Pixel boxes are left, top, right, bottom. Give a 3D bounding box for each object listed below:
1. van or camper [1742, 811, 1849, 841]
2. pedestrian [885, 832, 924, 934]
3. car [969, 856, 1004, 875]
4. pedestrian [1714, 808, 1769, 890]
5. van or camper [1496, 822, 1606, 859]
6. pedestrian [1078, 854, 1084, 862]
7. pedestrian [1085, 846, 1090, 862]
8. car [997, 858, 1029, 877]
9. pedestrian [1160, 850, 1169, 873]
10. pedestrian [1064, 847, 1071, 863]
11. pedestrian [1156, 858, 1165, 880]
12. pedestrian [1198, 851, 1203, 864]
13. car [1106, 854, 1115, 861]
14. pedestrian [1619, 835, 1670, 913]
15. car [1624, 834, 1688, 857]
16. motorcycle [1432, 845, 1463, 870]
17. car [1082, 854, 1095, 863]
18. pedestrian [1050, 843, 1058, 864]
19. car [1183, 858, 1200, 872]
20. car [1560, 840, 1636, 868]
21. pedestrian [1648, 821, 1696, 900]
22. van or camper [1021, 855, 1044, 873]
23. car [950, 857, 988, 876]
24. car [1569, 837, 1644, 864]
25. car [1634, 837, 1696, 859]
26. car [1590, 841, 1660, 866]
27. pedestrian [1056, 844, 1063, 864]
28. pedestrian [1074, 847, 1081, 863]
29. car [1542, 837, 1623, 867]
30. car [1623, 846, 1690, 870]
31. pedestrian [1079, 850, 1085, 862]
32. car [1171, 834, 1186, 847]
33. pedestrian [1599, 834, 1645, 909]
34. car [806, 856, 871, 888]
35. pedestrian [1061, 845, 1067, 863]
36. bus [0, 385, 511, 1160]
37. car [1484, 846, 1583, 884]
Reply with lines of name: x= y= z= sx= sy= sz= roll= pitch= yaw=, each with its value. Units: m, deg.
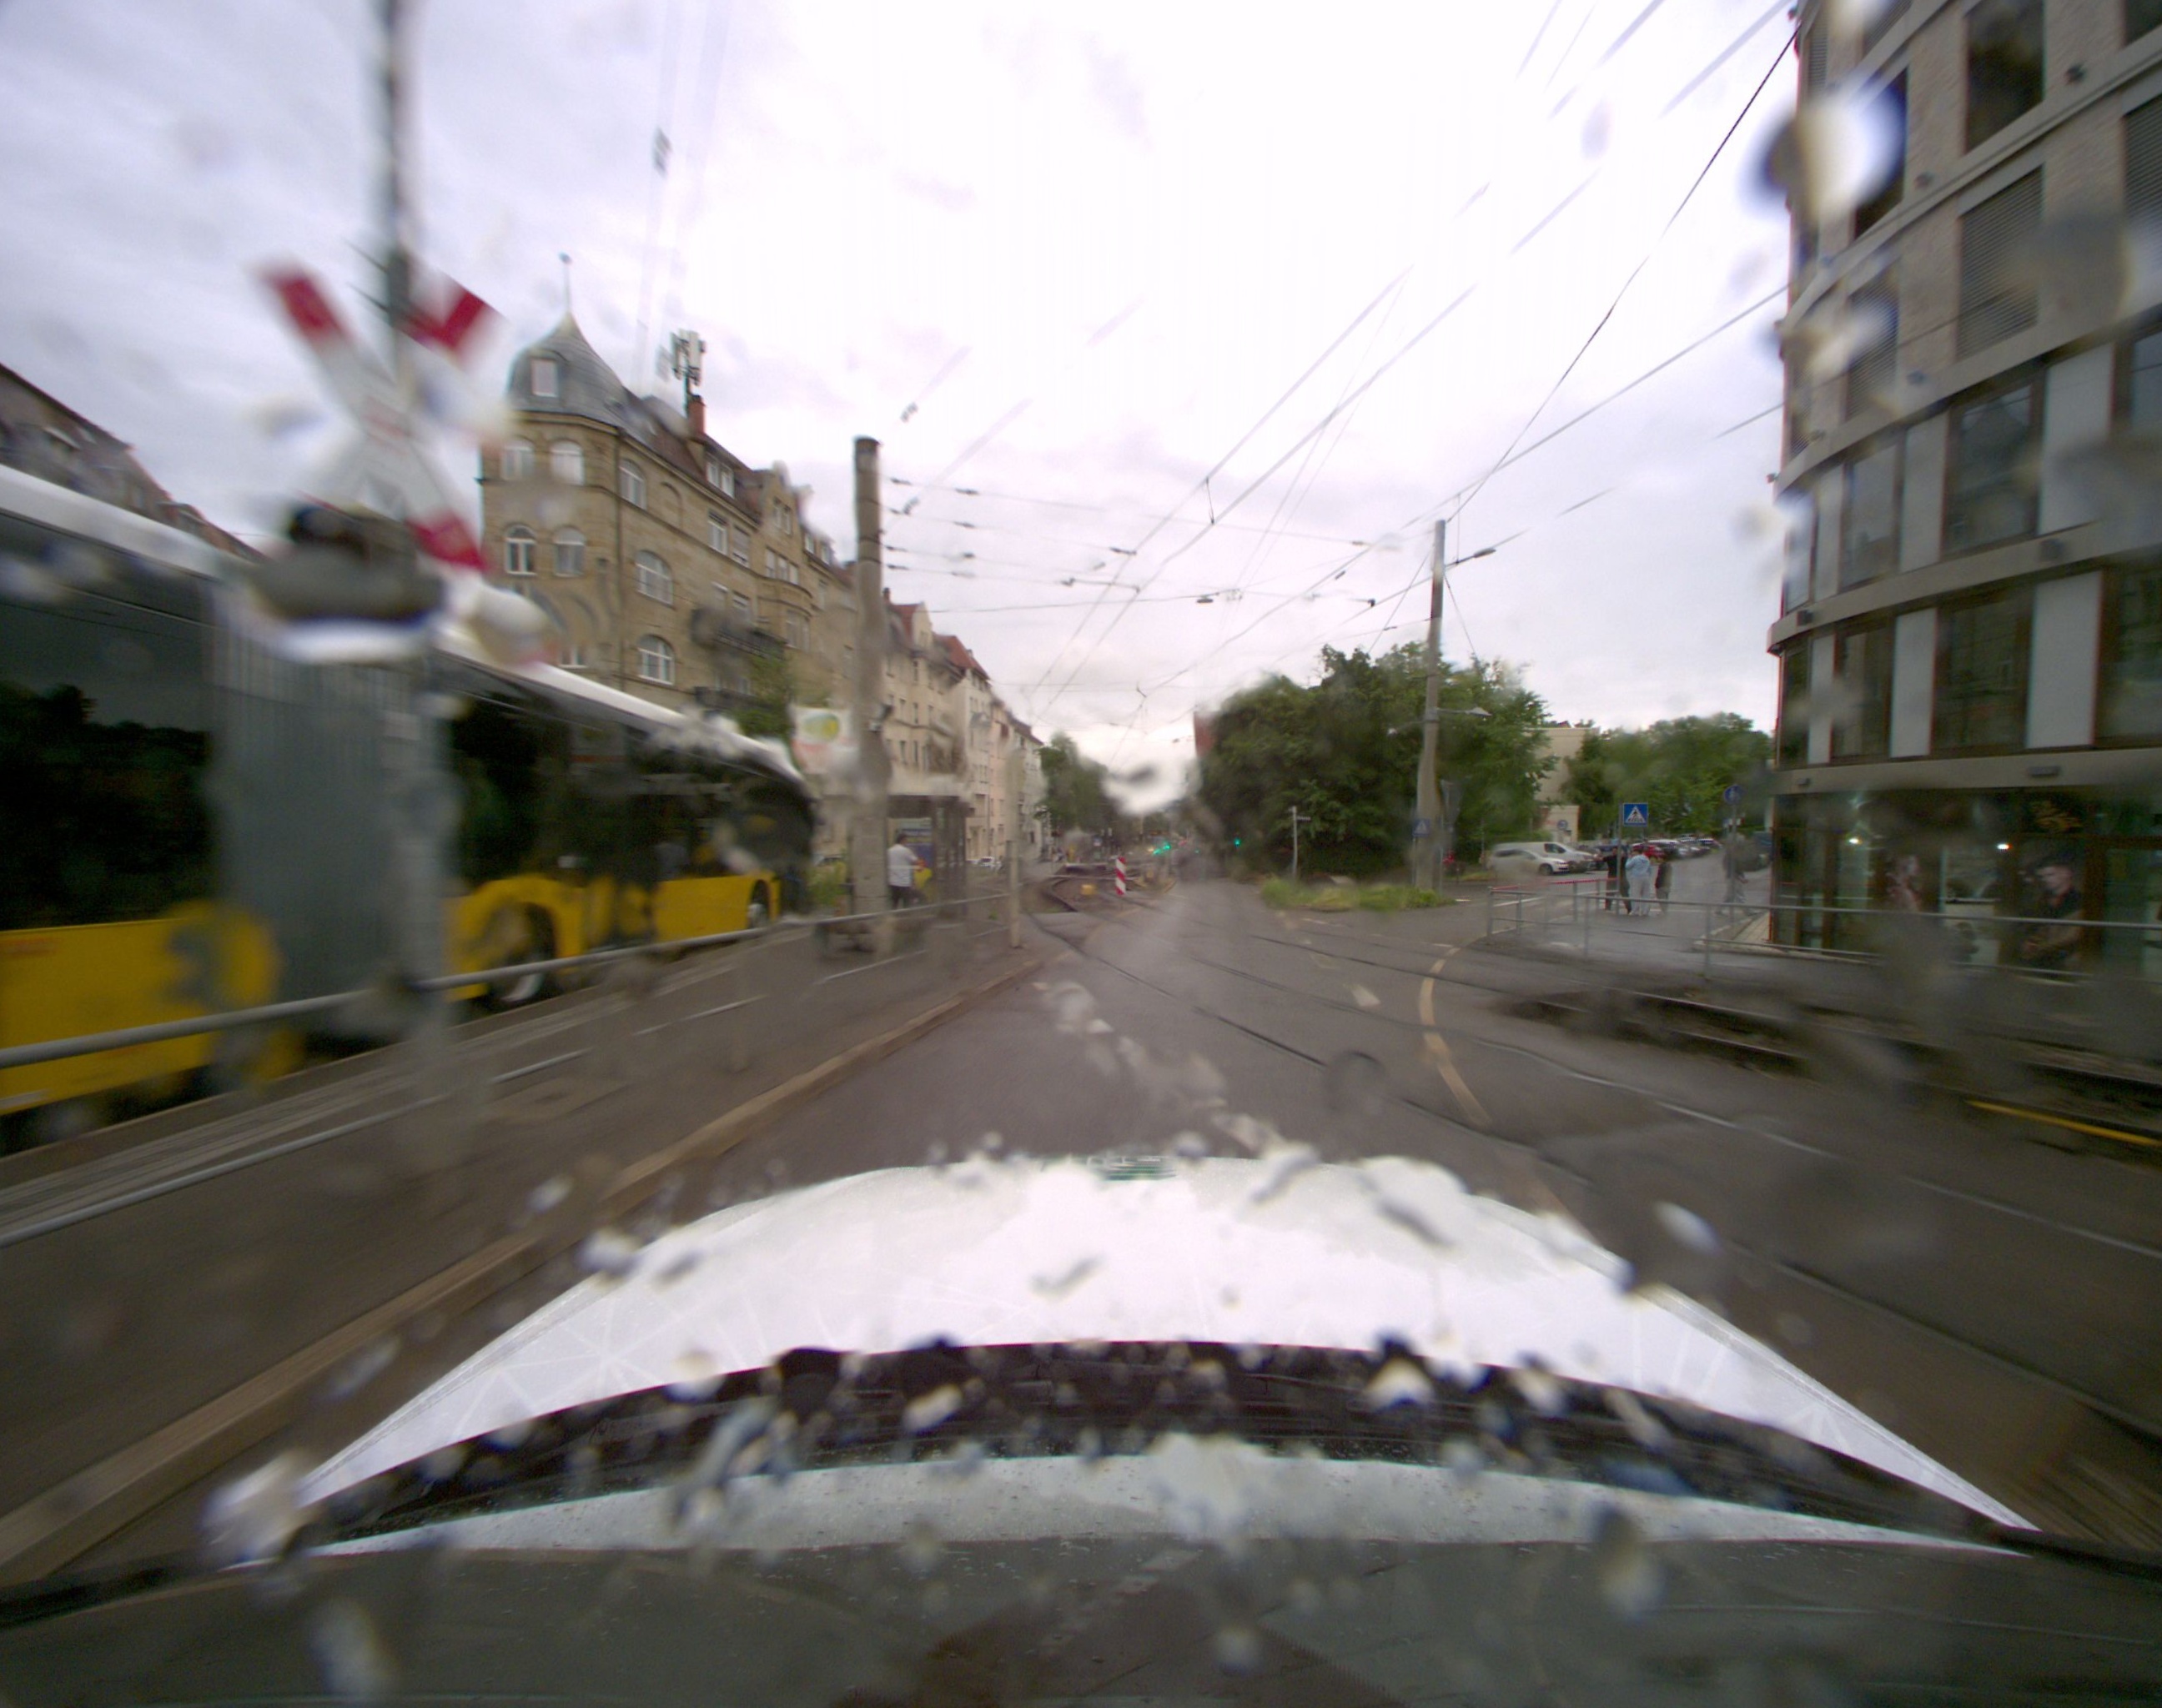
van or camper: x=55.456 y=-2.142 z=63.357 sx=5.873 sy=2.013 sz=2.011 roll=-2 pitch=0 yaw=23
pedestrian: x=-3.110 y=0.508 z=14.363 sx=0.575 sy=1.752 sz=0.542 roll=-1 pitch=-1 yaw=-5
car: x=-8.457 y=0.990 z=73.272 sx=1.912 sy=1.622 sz=4.545 roll=-2 pitch=0 yaw=8
pedestrian: x=16.770 y=-0.135 z=20.691 sx=0.589 sy=2.013 sz=0.892 roll=-3 pitch=0 yaw=2
van or camper: x=27.324 y=-0.757 z=47.534 sx=2.010 sy=1.834 sz=5.121 roll=-2 pitch=-1 yaw=-39
pedestrian: x=0.017 y=0.498 z=92.517 sx=0.547 sy=0.872 sz=0.615 roll=-3 pitch=-1 yaw=6
pedestrian: x=0.757 y=0.013 z=94.612 sx=0.547 sy=1.741 sz=0.615 roll=-3 pitch=-1 yaw=6
car: x=-6.814 y=1.376 z=82.178 sx=1.982 sy=1.732 sz=4.826 roll=-2 pitch=-1 yaw=9
pedestrian: x=6.645 y=0.608 z=64.704 sx=0.647 sy=1.784 sz=0.849 roll=-1 pitch=0 yaw=7
pedestrian: x=-1.396 y=0.134 z=84.552 sx=0.591 sy=1.666 sz=0.763 roll=-3 pitch=-1 yaw=6
pedestrian: x=5.858 y=1.113 z=60.204 sx=0.647 sy=1.562 sz=0.685 roll=-1 pitch=0 yaw=7
pedestrian: x=17.355 y=0.467 z=118.168 sx=0.551 sy=1.813 sz=0.651 roll=-1 pitch=0 yaw=4
car: x=7.028 y=0.789 z=194.088 sx=1.764 sy=1.488 sz=4.263 roll=-3 pitch=-1 yaw=7
pedestrian: x=14.893 y=0.514 z=21.540 sx=0.654 sy=2.013 sz=0.890 roll=-2 pitch=0 yaw=-6
car: x=46.801 y=-0.686 z=66.298 sx=1.857 sy=1.771 sz=3.952 roll=-2 pitch=1 yaw=-42
motorcycle: x=21.318 y=0.187 z=47.354 sx=0.815 sy=1.375 sz=2.444 roll=5 pitch=3 yaw=44
car: x=1.448 y=0.790 z=151.598 sx=1.716 sy=1.515 sz=4.506 roll=-1 pitch=1 yaw=8
pedestrian: x=-2.421 y=-0.033 z=73.627 sx=0.558 sy=1.850 sz=0.600 roll=-3 pitch=-1 yaw=6
car: x=13.208 y=1.312 z=97.441 sx=1.843 sy=1.473 sz=4.006 roll=-1 pitch=0 yaw=5
car: x=34.125 y=0.007 z=53.782 sx=1.748 sy=1.684 sz=3.857 roll=-2 pitch=-1 yaw=-42
pedestrian: x=15.605 y=0.168 z=21.522 sx=0.589 sy=2.013 sz=0.892 roll=-2 pitch=0 yaw=2
van or camper: x=-5.618 y=1.143 z=94.392 sx=1.983 sy=2.013 sz=4.007 roll=-2 pitch=0 yaw=6
car: x=-9.251 y=1.054 z=67.683 sx=1.983 sy=1.533 sz=4.541 roll=1 pitch=-1 yaw=7
car: x=35.549 y=-0.232 z=55.165 sx=1.857 sy=1.771 sz=3.952 roll=-2 pitch=1 yaw=-42
car: x=49.206 y=-0.503 z=68.670 sx=1.857 sy=1.771 sz=3.952 roll=-2 pitch=1 yaw=-42
car: x=39.926 y=-0.062 z=59.808 sx=1.857 sy=1.771 sz=3.952 roll=-2 pitch=1 yaw=-42
pedestrian: x=-2.076 y=-0.010 z=78.503 sx=0.513 sy=1.838 sz=0.763 roll=-3 pitch=-1 yaw=6
pedestrian: x=-0.408 y=0.074 z=87.899 sx=0.591 sy=1.666 sz=0.763 roll=-3 pitch=-1 yaw=6
car: x=30.801 y=-0.114 z=50.112 sx=1.748 sy=1.684 sz=3.857 roll=-2 pitch=-1 yaw=-42
car: x=44.729 y=0.268 z=63.308 sx=1.857 sy=1.771 sz=3.952 roll=-2 pitch=1 yaw=-42
pedestrian: x=0.144 y=0.235 z=93.412 sx=0.547 sy=1.413 sz=0.615 roll=-3 pitch=-1 yaw=6
car: x=14.478 y=-2.003 z=121.132 sx=1.939 sy=1.793 sz=4.150 roll=0 pitch=0 yaw=5
pedestrian: x=15.082 y=0.476 z=22.720 sx=0.681 sy=2.013 sz=0.784 roll=-2 pitch=0 yaw=-6
car: x=-12.445 y=0.895 z=42.079 sx=1.622 sy=1.547 sz=4.183 roll=-1 pitch=0 yaw=7
pedestrian: x=-1.703 y=0.025 z=82.030 sx=0.513 sy=1.838 sz=0.763 roll=-3 pitch=-1 yaw=6
bus: x=-6.093 y=-0.360 z=2.358 sx=2.583 sy=3.469 sz=9.102 roll=-1 pitch=-1 yaw=-1
car: x=25.303 y=0.576 z=45.663 sx=2.012 sy=2.014 sz=4.453 roll=0 pitch=-1 yaw=-45
